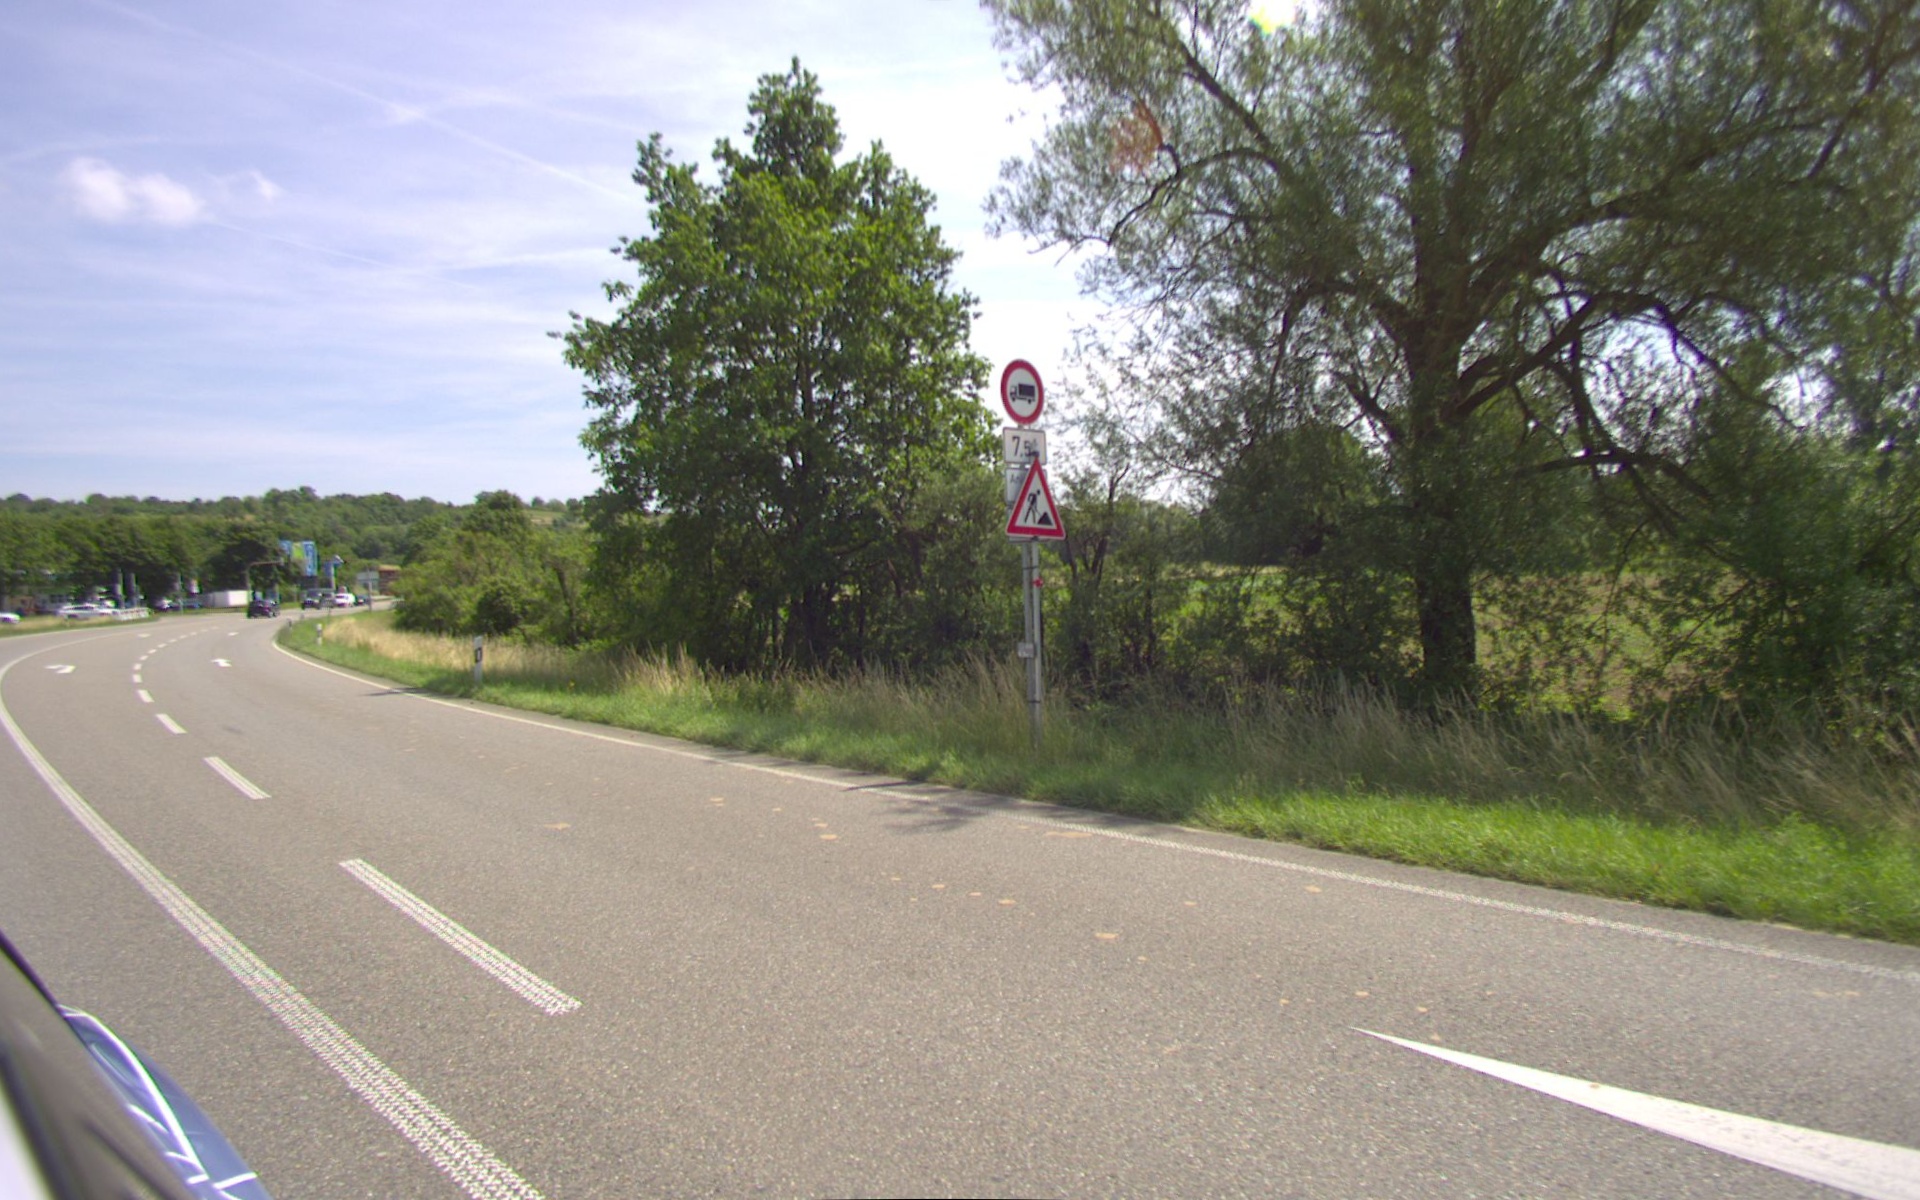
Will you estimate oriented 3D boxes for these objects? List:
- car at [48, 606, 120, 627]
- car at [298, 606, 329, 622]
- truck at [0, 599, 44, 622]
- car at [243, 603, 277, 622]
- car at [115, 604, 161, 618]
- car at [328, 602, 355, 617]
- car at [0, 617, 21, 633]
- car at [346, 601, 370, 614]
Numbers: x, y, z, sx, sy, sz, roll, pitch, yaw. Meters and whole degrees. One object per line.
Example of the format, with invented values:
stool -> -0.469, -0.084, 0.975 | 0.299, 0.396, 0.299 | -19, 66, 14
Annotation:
car -> -81.919, 1.552, 94.720 | 4.563, 1.619, 2.005 | -3, 4, -16
car -> -79.852, 1.702, 125.061 | 1.781, 1.745, 4.010 | -2, 3, -12
truck -> -115.455, 1.290, 122.913 | 2.237, 2.637, 6.132 | -2, 2, 9
car -> -64.529, 1.131, 93.326 | 1.746, 1.671, 4.013 | -1, 1, -22
car -> -109.577, 1.469, 134.935 | 1.978, 1.633, 4.615 | 0, 2, 11
car -> -81.696, 1.279, 133.700 | 1.781, 1.745, 4.010 | -2, 3, -12
car -> -91.299, 2.373, 95.203 | 4.037, 1.429, 1.806 | -2, 1, -34
car -> -83.752, 1.049, 140.837 | 1.780, 1.745, 4.011 | -2, 1, -14
